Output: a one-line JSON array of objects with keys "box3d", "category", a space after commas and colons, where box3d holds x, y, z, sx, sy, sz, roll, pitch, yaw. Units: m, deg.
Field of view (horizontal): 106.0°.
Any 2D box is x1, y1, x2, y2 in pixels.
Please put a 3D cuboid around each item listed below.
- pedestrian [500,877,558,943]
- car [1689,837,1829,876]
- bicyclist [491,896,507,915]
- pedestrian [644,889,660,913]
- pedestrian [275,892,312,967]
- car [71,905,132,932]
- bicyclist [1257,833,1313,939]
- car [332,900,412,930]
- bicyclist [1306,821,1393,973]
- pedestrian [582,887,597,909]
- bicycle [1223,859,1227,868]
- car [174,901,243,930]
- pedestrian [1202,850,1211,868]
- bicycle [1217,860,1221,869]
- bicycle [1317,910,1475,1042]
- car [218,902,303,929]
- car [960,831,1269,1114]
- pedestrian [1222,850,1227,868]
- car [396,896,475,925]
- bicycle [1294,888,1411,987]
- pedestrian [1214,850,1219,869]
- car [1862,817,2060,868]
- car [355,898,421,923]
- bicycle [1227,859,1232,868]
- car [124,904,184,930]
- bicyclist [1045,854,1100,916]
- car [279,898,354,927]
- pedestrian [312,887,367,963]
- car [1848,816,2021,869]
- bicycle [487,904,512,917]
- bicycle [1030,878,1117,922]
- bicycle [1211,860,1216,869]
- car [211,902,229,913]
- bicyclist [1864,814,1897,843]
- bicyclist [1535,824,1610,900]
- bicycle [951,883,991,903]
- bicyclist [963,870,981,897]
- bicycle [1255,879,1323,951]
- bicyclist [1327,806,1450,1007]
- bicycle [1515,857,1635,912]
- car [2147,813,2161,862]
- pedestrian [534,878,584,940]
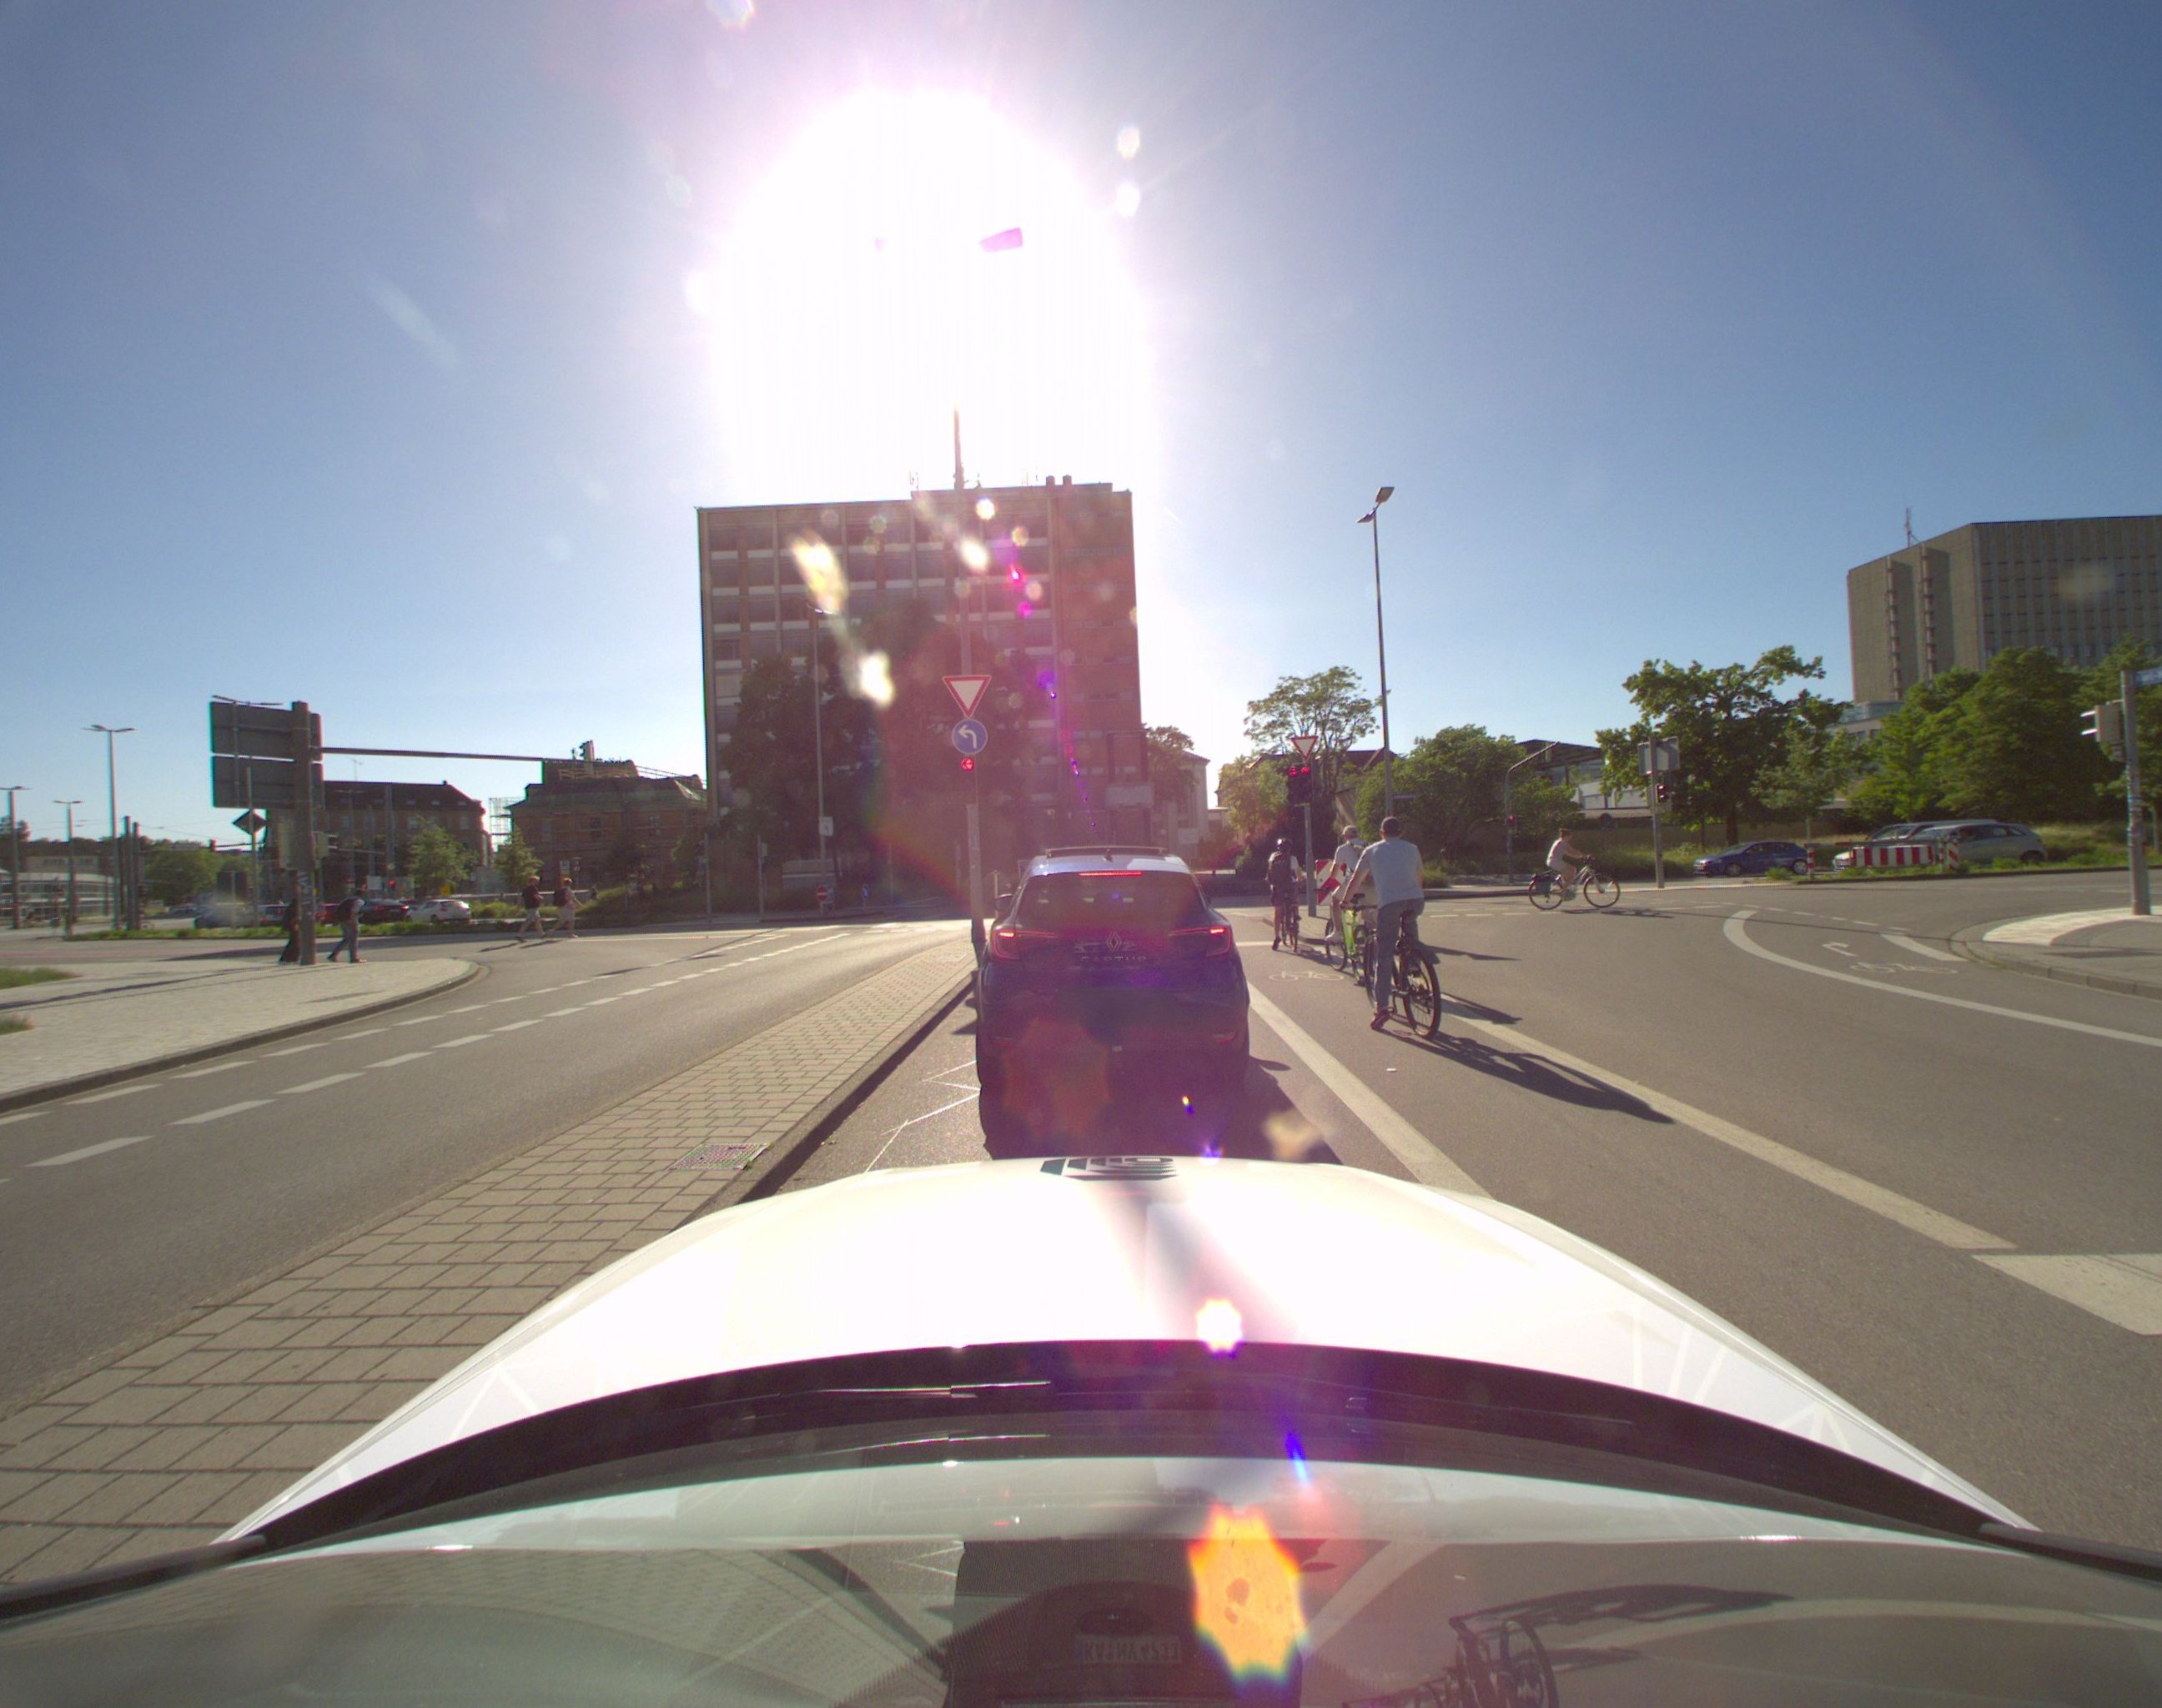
[{"box3d": [-15.701, 1.573, 23.181, 0.698, 1.800, 1.106, -5, -3, 11], "category": "pedestrian"}, {"box3d": [28.219, 0.100, 34.009, 4.140, 1.435, 1.747, -2, -1, 8], "category": "car"}, {"box3d": [-45.887, 4.066, 64.245, 0.928, 1.429, 0.602, -3, -1, 25], "category": "bicyclist"}, {"box3d": [-29.980, 3.284, 56.955, 0.730, 1.603, 0.602, -3, -1, 26], "category": "pedestrian"}, {"box3d": [-19.014, 1.810, 19.658, 0.600, 1.729, 0.572, -2, -1, -45], "category": "pedestrian"}, {"box3d": [-66.314, 4.347, 55.150, 4.331, 1.632, 1.856, -3, -1, 29], "category": "car"}, {"box3d": [3.241, 0.499, 12.986, 0.722, 1.629, 0.970, 0, -1, 6], "category": "bicyclist"}, {"box3d": [-42.573, 3.660, 48.894, 4.334, 1.632, 1.854, -3, -1, 23], "category": "car"}, {"box3d": [3.218, 0.493, 9.849, 0.644, 1.739, 1.065, 0, -1, -4], "category": "bicyclist"}, {"box3d": [-36.358, 3.230, 60.266, 0.852, 1.571, 0.563, -3, -1, 29], "category": "pedestrian"}, {"box3d": [16.650, 1.079, 94.172, 0.403, 0.973, 1.686, 0, -1, 6], "category": "bicycle"}, {"box3d": [-55.161, 3.905, 51.466, 4.331, 1.632, 1.855, -3, -1, 27], "category": "car"}, {"box3d": [14.376, 0.522, 93.216, 0.855, 2.014, 0.469, -2, -1, 7], "category": "pedestrian"}, {"box3d": [15.872, 1.226, 93.822, 0.403, 0.973, 1.686, 0, -1, 6], "category": "bicycle"}, {"box3d": [2.724, 1.012, 7.295, 0.737, 0.896, 1.980, 0, -1, 3], "category": "bicycle"}, {"box3d": [-49.013, 3.676, 48.656, 4.841, 1.388, 1.854, -3, -1, 23], "category": "car"}, {"box3d": [0.207, 0.707, 6.801, 1.798, 1.632, 3.999, -1, 0, 0], "category": "car"}, {"box3d": [16.211, 0.604, 92.183, 0.473, 2.014, 0.469, -2, -1, 8], "category": "pedestrian"}, {"box3d": [-36.337, 3.176, 45.836, 3.803, 1.435, 1.752, -2, -1, 21], "category": "car"}, {"box3d": [3.218, 0.953, 9.851, 0.657, 1.003, 1.967, 0, -1, -4], "category": "bicycle"}, {"box3d": [15.099, 0.601, 90.857, 0.473, 2.014, 0.524, -2, -1, 8], "category": "pedestrian"}, {"box3d": [28.142, -0.360, 26.167, 4.025, 1.408, 1.872, -2, -1, 8], "category": "car"}, {"box3d": [-50.958, 4.162, 59.847, 4.779, 1.632, 1.855, -2, -1, 25], "category": "car"}, {"box3d": [17.184, 1.075, 94.173, 0.403, 0.973, 1.686, 0, -1, 6], "category": "bicycle"}, {"box3d": [-64.770, 4.427, 56.911, 4.331, 1.632, 1.856, -3, -1, 29], "category": "car"}, {"box3d": [-0.202, 0.743, 19.987, 1.116, 1.422, 0.689, -4, -1, 13], "category": "bicyclist"}, {"box3d": [-48.459, 3.683, 51.643, 4.334, 1.632, 1.854, -3, -1, 23], "category": "car"}, {"box3d": [-17.338, 1.656, 19.054, 0.910, 1.690, 0.829, -2, -4, -42], "category": "pedestrian"}, {"box3d": [35.253, -0.440, 33.762, 4.856, 2.107, 2.002, 0, -1, 4], "category": "car"}, {"box3d": [-45.868, 4.445, 64.232, 2.057, 0.964, 0.602, -3, -1, 25], "category": "bicycle"}, {"box3d": [-0.174, 1.124, 19.973, 1.970, 0.918, 0.690, -4, -1, 13], "category": "bicycle"}, {"box3d": [15.254, 1.231, 93.880, 0.403, 0.973, 1.686, 0, -1, 6], "category": "bicycle"}, {"box3d": [-145.562, 9.007, 137.672, 3.949, 1.662, 2.012, -3, -1, 43], "category": "car"}, {"box3d": [38.161, -1.218, 38.869, 0.823, 1.316, 0.696, -6, 1, 0], "category": "bicyclist"}, {"box3d": [10.370, 0.164, 17.215, 1.062, 1.500, 0.743, -4, -1, 11], "category": "bicyclist"}, {"box3d": [-5.927, 2.111, 44.025, 2.016, 0.964, 0.593, -2, -1, -25], "category": "bicycle"}, {"box3d": [-5.889, 1.596, 44.052, 0.741, 1.441, 0.593, -2, -1, -25], "category": "bicyclist"}, {"box3d": [3.251, 0.926, 12.933, 0.735, 0.995, 2.177, 0, -1, 6], "category": "bicycle"}, {"box3d": [2.716, 0.444, 7.295, 0.748, 1.668, 1.017, 0, -1, 3], "category": "bicyclist"}, {"box3d": [10.406, 0.642, 17.218, 1.971, 0.995, 0.743, -4, -1, 11], "category": "bicycle"}, {"box3d": [36.988, -0.623, 25.350, 4.711, 1.584, 2.002, -2, -1, 4], "category": "car"}, {"box3d": [-14.837, 1.558, 23.159, 0.786, 1.690, 0.792, -5, -3, 18], "category": "pedestrian"}]
